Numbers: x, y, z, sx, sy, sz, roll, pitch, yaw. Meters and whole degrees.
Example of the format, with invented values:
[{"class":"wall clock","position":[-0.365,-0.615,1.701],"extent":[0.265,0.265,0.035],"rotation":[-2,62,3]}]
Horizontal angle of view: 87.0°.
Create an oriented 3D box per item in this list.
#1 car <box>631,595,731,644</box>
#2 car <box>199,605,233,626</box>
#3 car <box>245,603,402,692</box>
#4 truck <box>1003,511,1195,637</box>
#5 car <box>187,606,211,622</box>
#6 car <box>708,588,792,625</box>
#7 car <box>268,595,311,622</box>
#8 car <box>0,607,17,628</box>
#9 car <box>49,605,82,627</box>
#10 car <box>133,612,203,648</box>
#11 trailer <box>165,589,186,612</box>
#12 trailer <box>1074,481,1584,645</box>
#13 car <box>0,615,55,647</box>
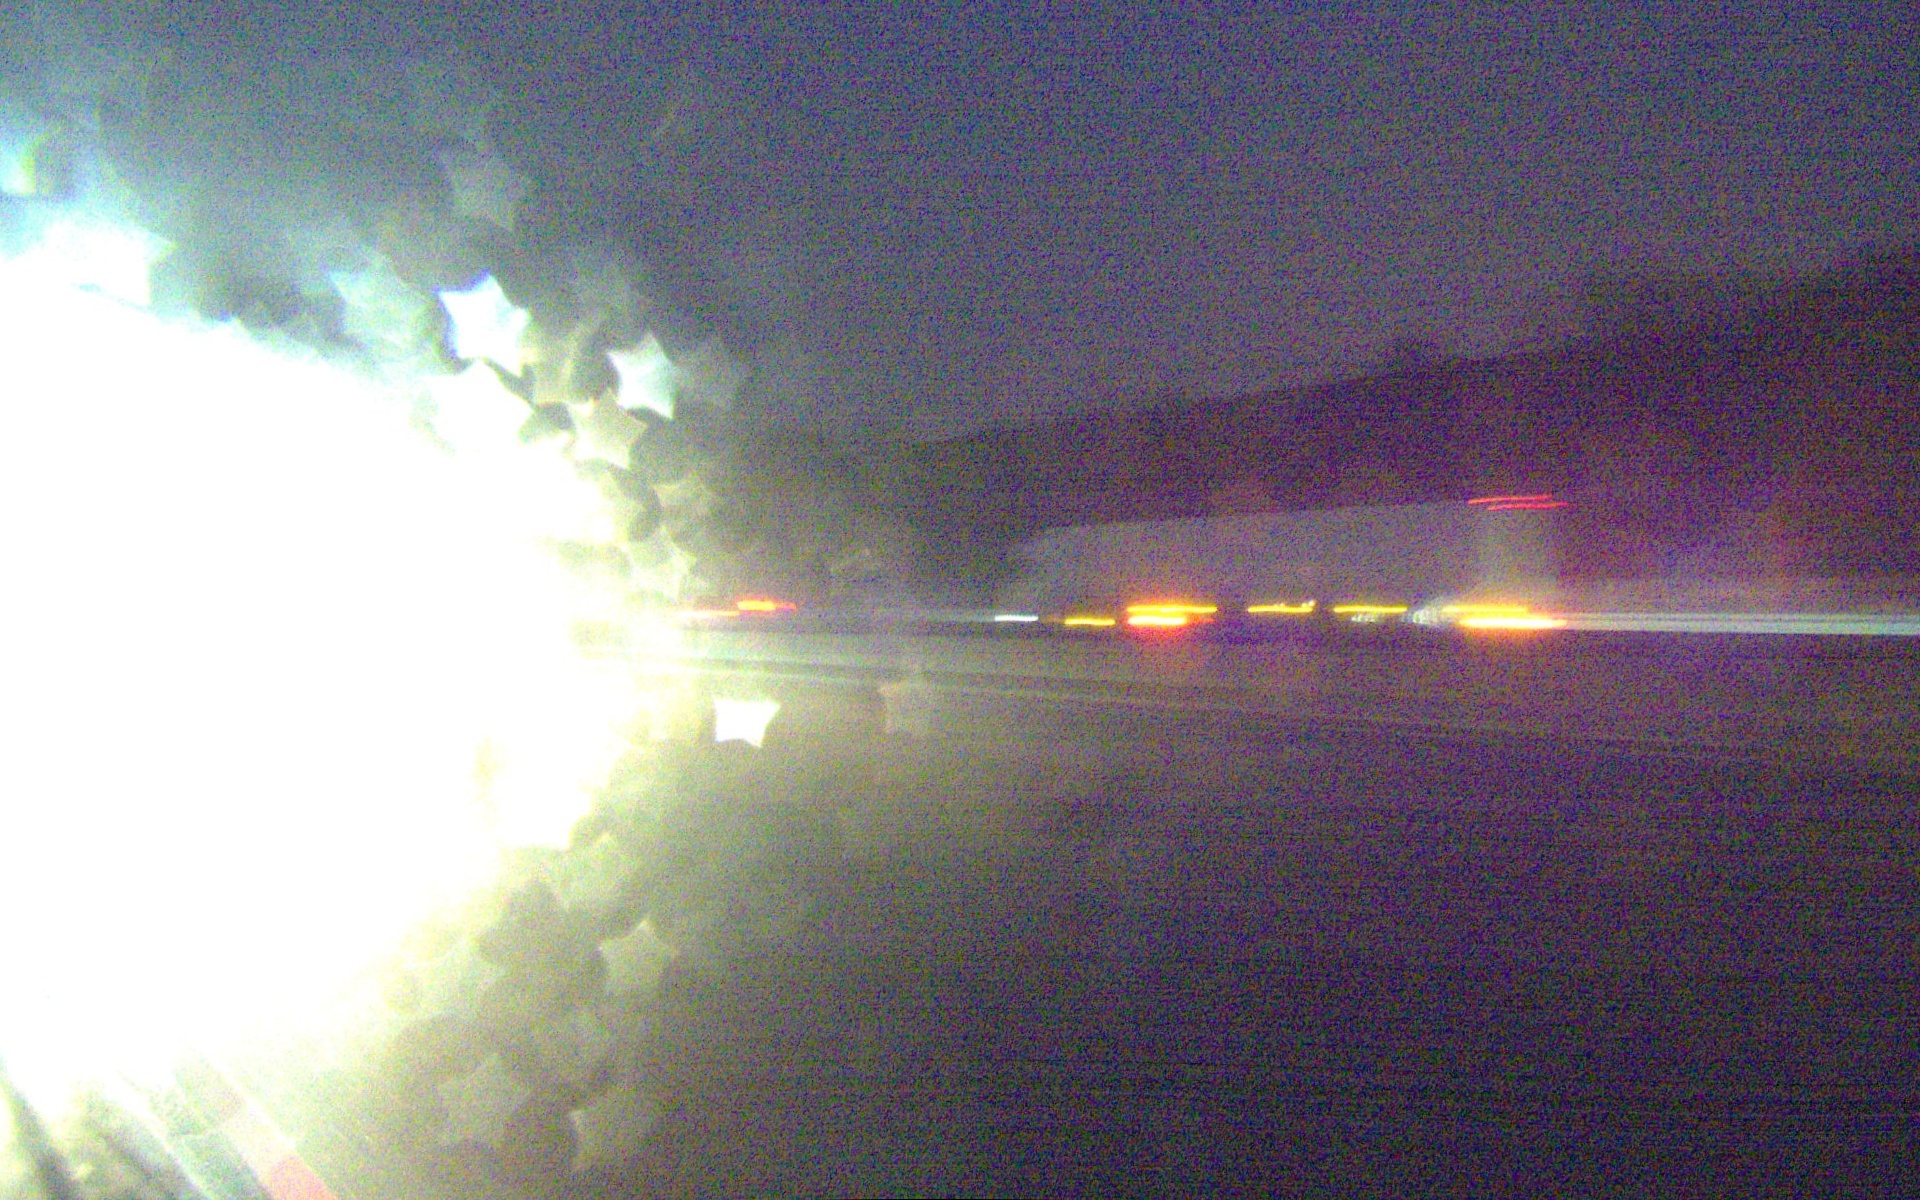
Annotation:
[{"class":"car","position":[-11.261,0.757,40.812],"extent":[3.998,1.770,1.973],"rotation":[-1,3,41]},{"class":"car","position":[-76.535,1.584,104.054],"extent":[4.279,2.028,1.972],"rotation":[0,3,43]},{"class":"car","position":[-13.067,0.893,20.688],"extent":[3.999,1.608,1.704],"rotation":[-1,1,42]},{"class":"truck","position":[4.895,-0.901,36.356],"extent":[6.265,4.120,2.700],"rotation":[-1,3,41]},{"class":"car","position":[-105.439,1.949,140.138],"extent":[4.001,1.996,1.972],"rotation":[-1,2,44]},{"class":"car","position":[-9.237,0.295,44.437],"extent":[3.702,1.501,1.644],"rotation":[-1,2,41]},{"class":"car","position":[-55.682,0.712,84.066],"extent":[4.279,2.028,1.972],"rotation":[-1,2,43]},{"class":"car","position":[-86.856,1.644,91.619],"extent":[4.001,1.807,1.903],"rotation":[-1,2,44]},{"class":"car","position":[-79.310,1.404,89.714],"extent":[1.903,1.807,4.002],"rotation":[-4,2,-45]},{"class":"car","position":[-38.498,1.418,49.159],"extent":[3.997,1.608,1.897],"rotation":[-1,1,41]},{"class":"trailer","position":[-139.524,0.044,179.893],"extent":[2.619,3.758,13.970],"rotation":[-4,3,-39]},{"class":"trailer","position":[10.494,-0.951,31.428],"extent":[14.854,4.120,2.700],"rotation":[-1,3,41]},{"class":"car","position":[-51.306,1.683,55.580],"extent":[3.997,1.608,1.897],"rotation":[-1,1,41]}]
